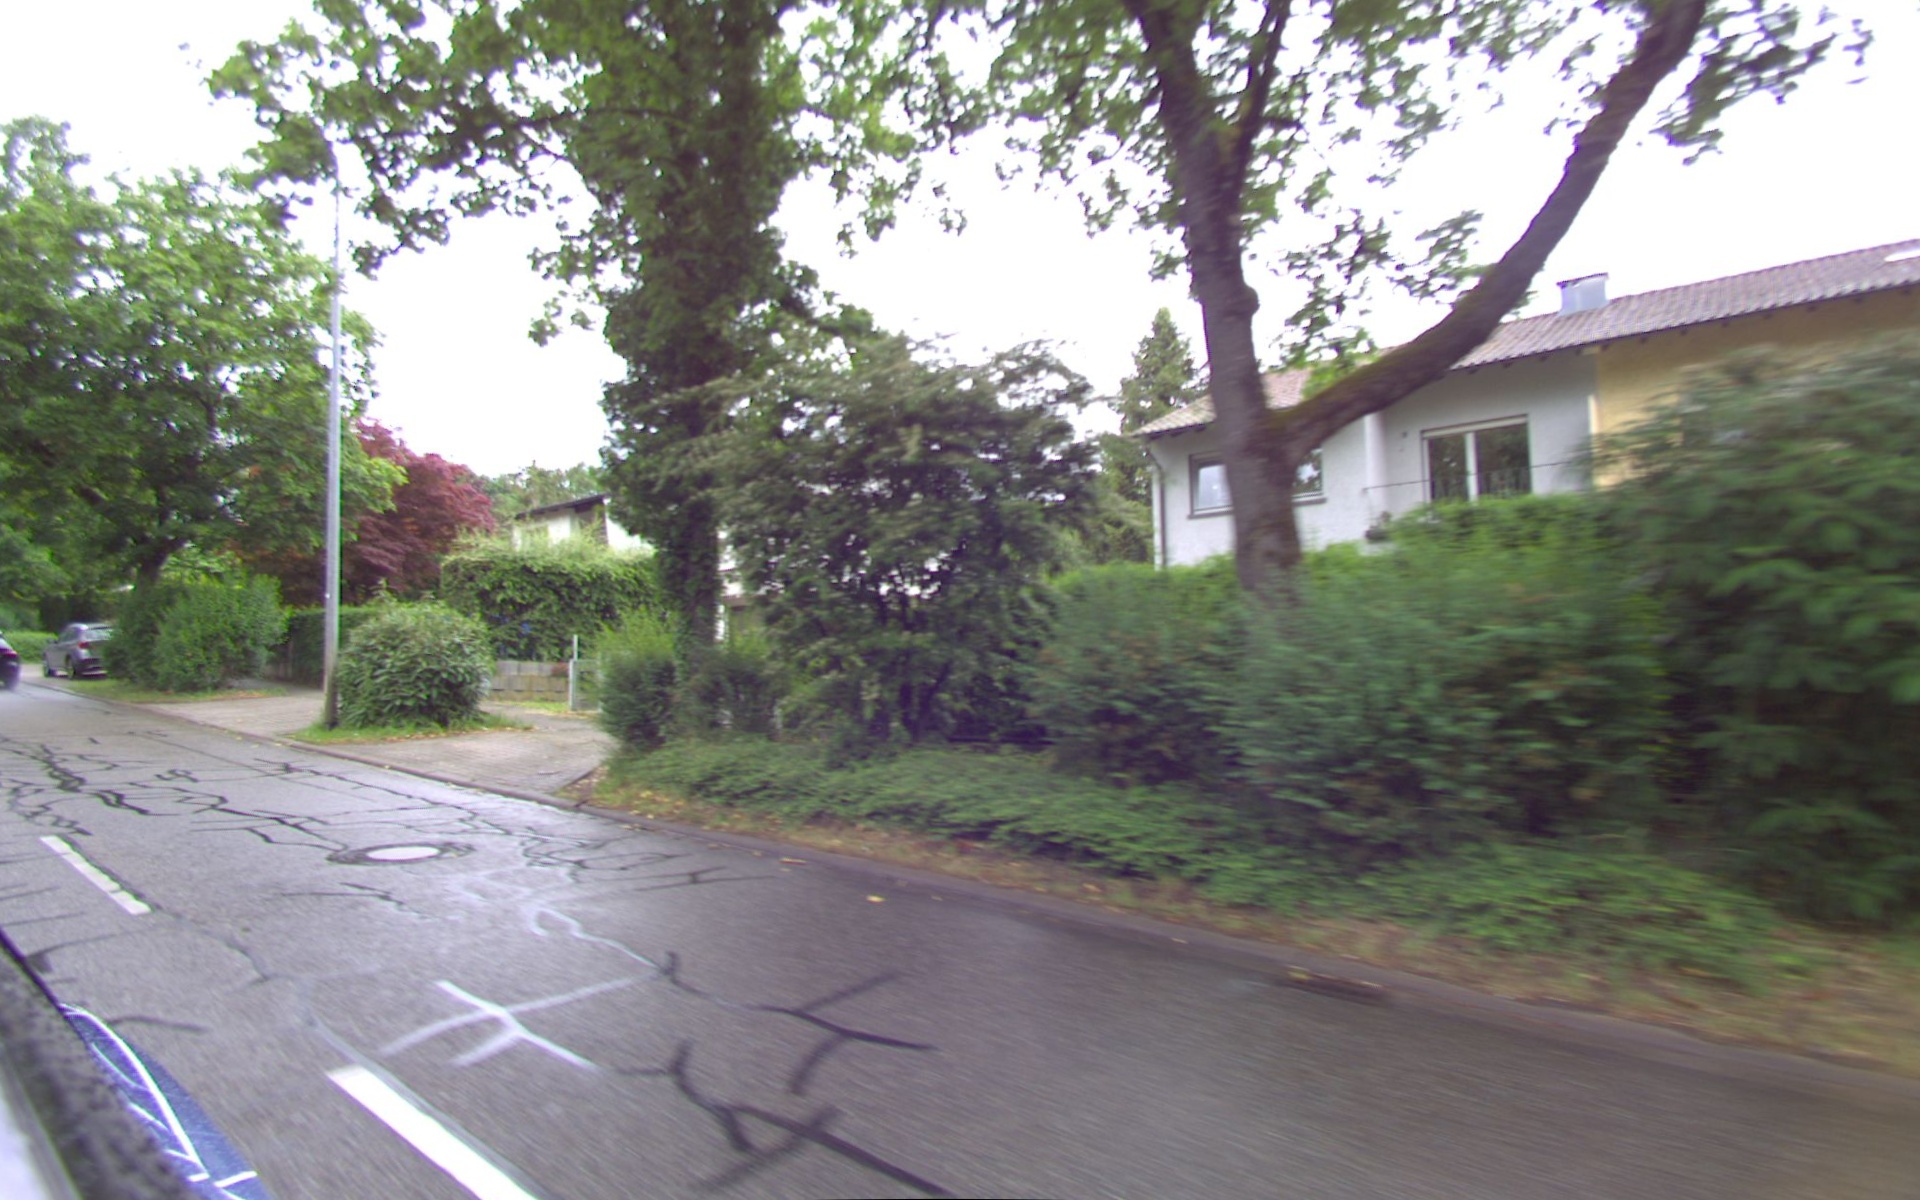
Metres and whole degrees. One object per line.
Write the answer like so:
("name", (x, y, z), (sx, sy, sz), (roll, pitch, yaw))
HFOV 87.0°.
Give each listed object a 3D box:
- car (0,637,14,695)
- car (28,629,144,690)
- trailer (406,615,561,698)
("car", (-25.175, 1.569, 25.204), (4.321, 1.373, 1.737), (0, -4, 39))
("car", (-25.162, 1.649, 29.091), (4.276, 1.554, 1.648), (-1, 0, 37))
("trailer", (-11.808, 1.460, 25.240), (1.421, 1.813, 3.091), (-4, -9, 34))
